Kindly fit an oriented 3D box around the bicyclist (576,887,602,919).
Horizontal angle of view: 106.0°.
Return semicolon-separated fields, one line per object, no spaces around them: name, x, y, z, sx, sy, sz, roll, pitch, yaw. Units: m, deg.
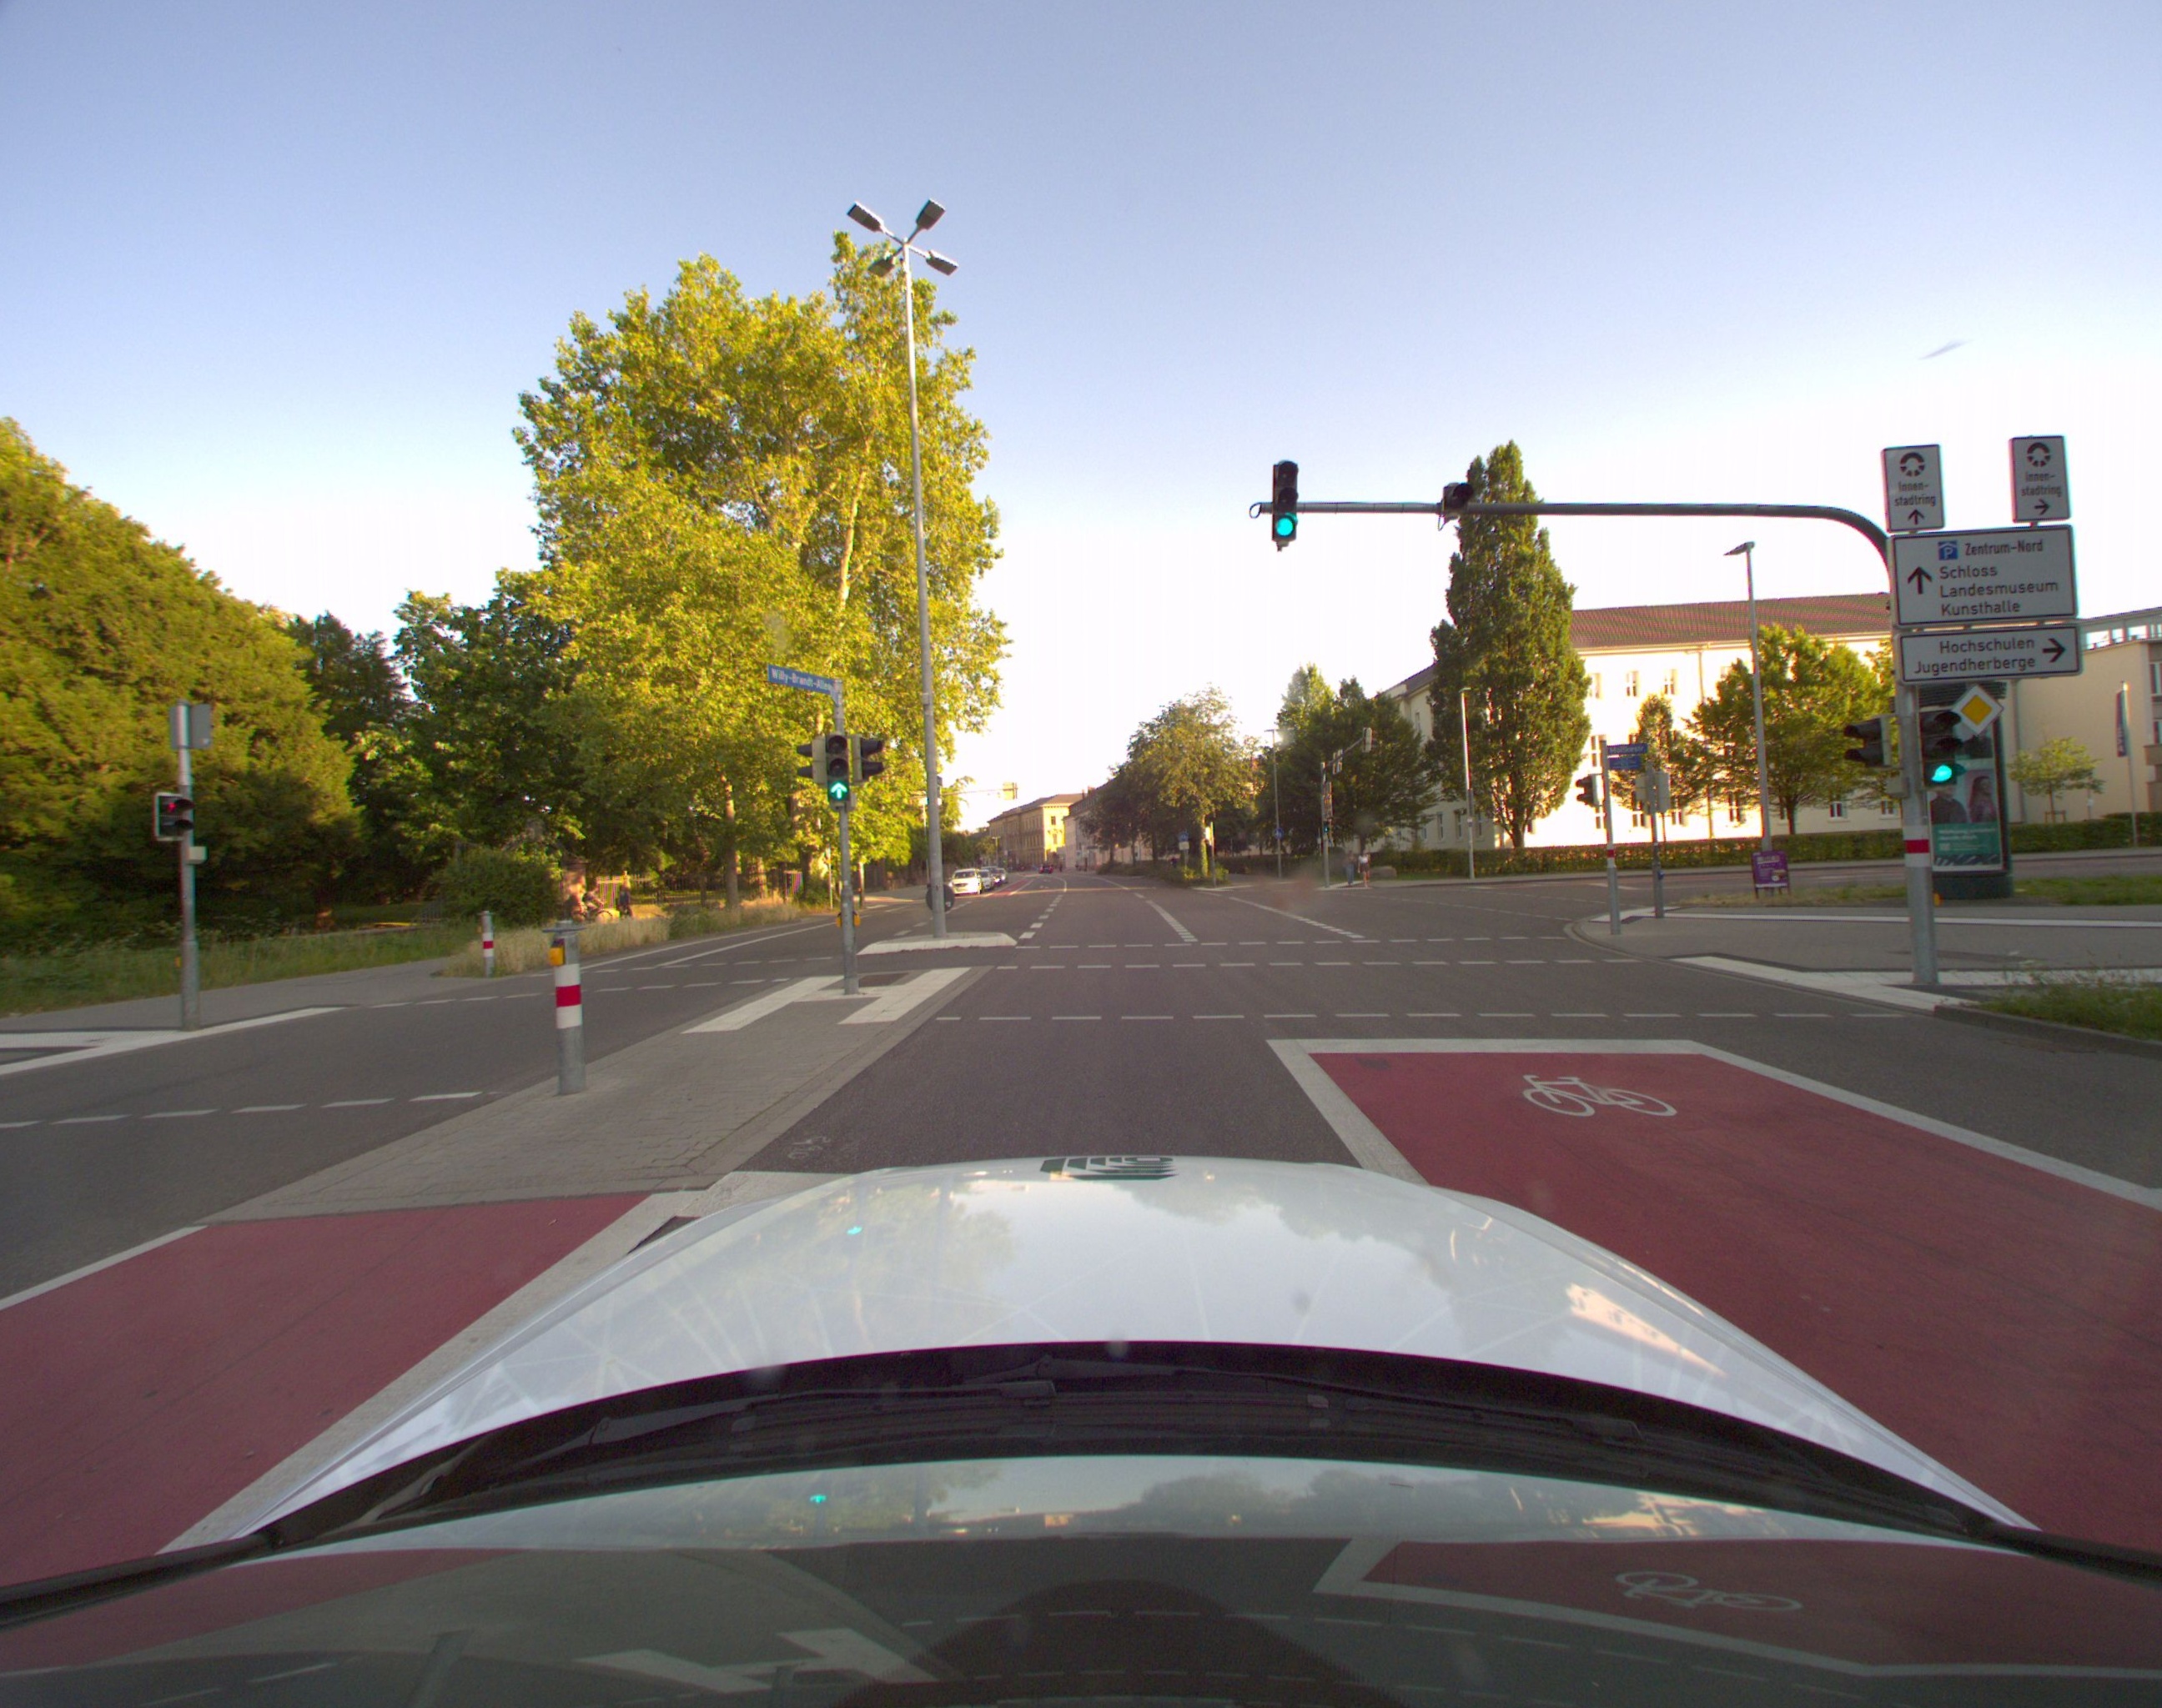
bicyclist;-21.964;2.194;36.370;0.839;1.361;0.569;-3;-1;-18

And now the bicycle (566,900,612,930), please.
bicycle;-21.928;2.707;36.342;1.632;1.229;0.569;-3;-1;-19

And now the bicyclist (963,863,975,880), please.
bicyclist;-10.154;1.586;73.855;0.852;1.431;0.944;-3;-1;2

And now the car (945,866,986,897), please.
car;-7.109;1.675;50.495;1.912;1.695;4.422;-5;-1;-2

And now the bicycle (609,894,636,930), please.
bicycle;-17.550;2.191;31.168;0.794;1.256;1.960;-2;-1;-31

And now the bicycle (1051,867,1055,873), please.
bicycle;-4.849;2.737;140.216;0.651;1.015;2.194;0;-1;-4

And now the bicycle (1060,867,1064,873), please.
bicycle;-3.196;2.798;140.318;0.650;1.015;2.197;0;-1;-1

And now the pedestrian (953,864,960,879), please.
pedestrian;-14.536;2.054;95.054;0.678;1.622;0.689;-3;-1;1

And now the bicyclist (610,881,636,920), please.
bicyclist;-17.619;1.791;31.288;0.794;1.427;0.883;-2;-1;-32

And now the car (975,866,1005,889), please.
car;-7.317;1.867;65.866;1.912;1.624;4.634;-5;-1;-2

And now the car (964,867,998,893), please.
car;-6.994;1.760;57.389;1.912;1.583;4.670;-5;-1;-2

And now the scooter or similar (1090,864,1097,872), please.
scooter or similar;2.256;2.468;145.411;0.630;1.337;2.390;-2;-1;-12

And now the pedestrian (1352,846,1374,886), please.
pedestrian;12.619;0.517;36.413;0.678;1.754;0.689;-3;0;1

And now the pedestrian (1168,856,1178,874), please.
pedestrian;9.273;1.067;81.798;0.769;1.739;0.805;-3;-1;-8

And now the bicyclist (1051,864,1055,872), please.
bicyclist;-4.845;2.375;140.191;0.651;1.446;0.878;0;-1;-5

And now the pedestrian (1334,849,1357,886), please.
pedestrian;11.870;0.599;36.579;0.678;1.622;0.845;-3;0;1

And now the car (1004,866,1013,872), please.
car;-18.403;3.843;206.413;1.915;1.418;4.756;-5;-1;-8

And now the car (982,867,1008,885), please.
car;-7.734;1.977;73.736;1.912;1.418;4.765;-5;-1;-2

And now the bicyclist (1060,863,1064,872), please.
bicyclist;-3.208;2.331;140.223;0.650;1.475;0.940;0;-1;-1

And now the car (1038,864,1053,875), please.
car;-5.360;2.335;124.194;1.867;1.510;3.988;-2;-1;-8
